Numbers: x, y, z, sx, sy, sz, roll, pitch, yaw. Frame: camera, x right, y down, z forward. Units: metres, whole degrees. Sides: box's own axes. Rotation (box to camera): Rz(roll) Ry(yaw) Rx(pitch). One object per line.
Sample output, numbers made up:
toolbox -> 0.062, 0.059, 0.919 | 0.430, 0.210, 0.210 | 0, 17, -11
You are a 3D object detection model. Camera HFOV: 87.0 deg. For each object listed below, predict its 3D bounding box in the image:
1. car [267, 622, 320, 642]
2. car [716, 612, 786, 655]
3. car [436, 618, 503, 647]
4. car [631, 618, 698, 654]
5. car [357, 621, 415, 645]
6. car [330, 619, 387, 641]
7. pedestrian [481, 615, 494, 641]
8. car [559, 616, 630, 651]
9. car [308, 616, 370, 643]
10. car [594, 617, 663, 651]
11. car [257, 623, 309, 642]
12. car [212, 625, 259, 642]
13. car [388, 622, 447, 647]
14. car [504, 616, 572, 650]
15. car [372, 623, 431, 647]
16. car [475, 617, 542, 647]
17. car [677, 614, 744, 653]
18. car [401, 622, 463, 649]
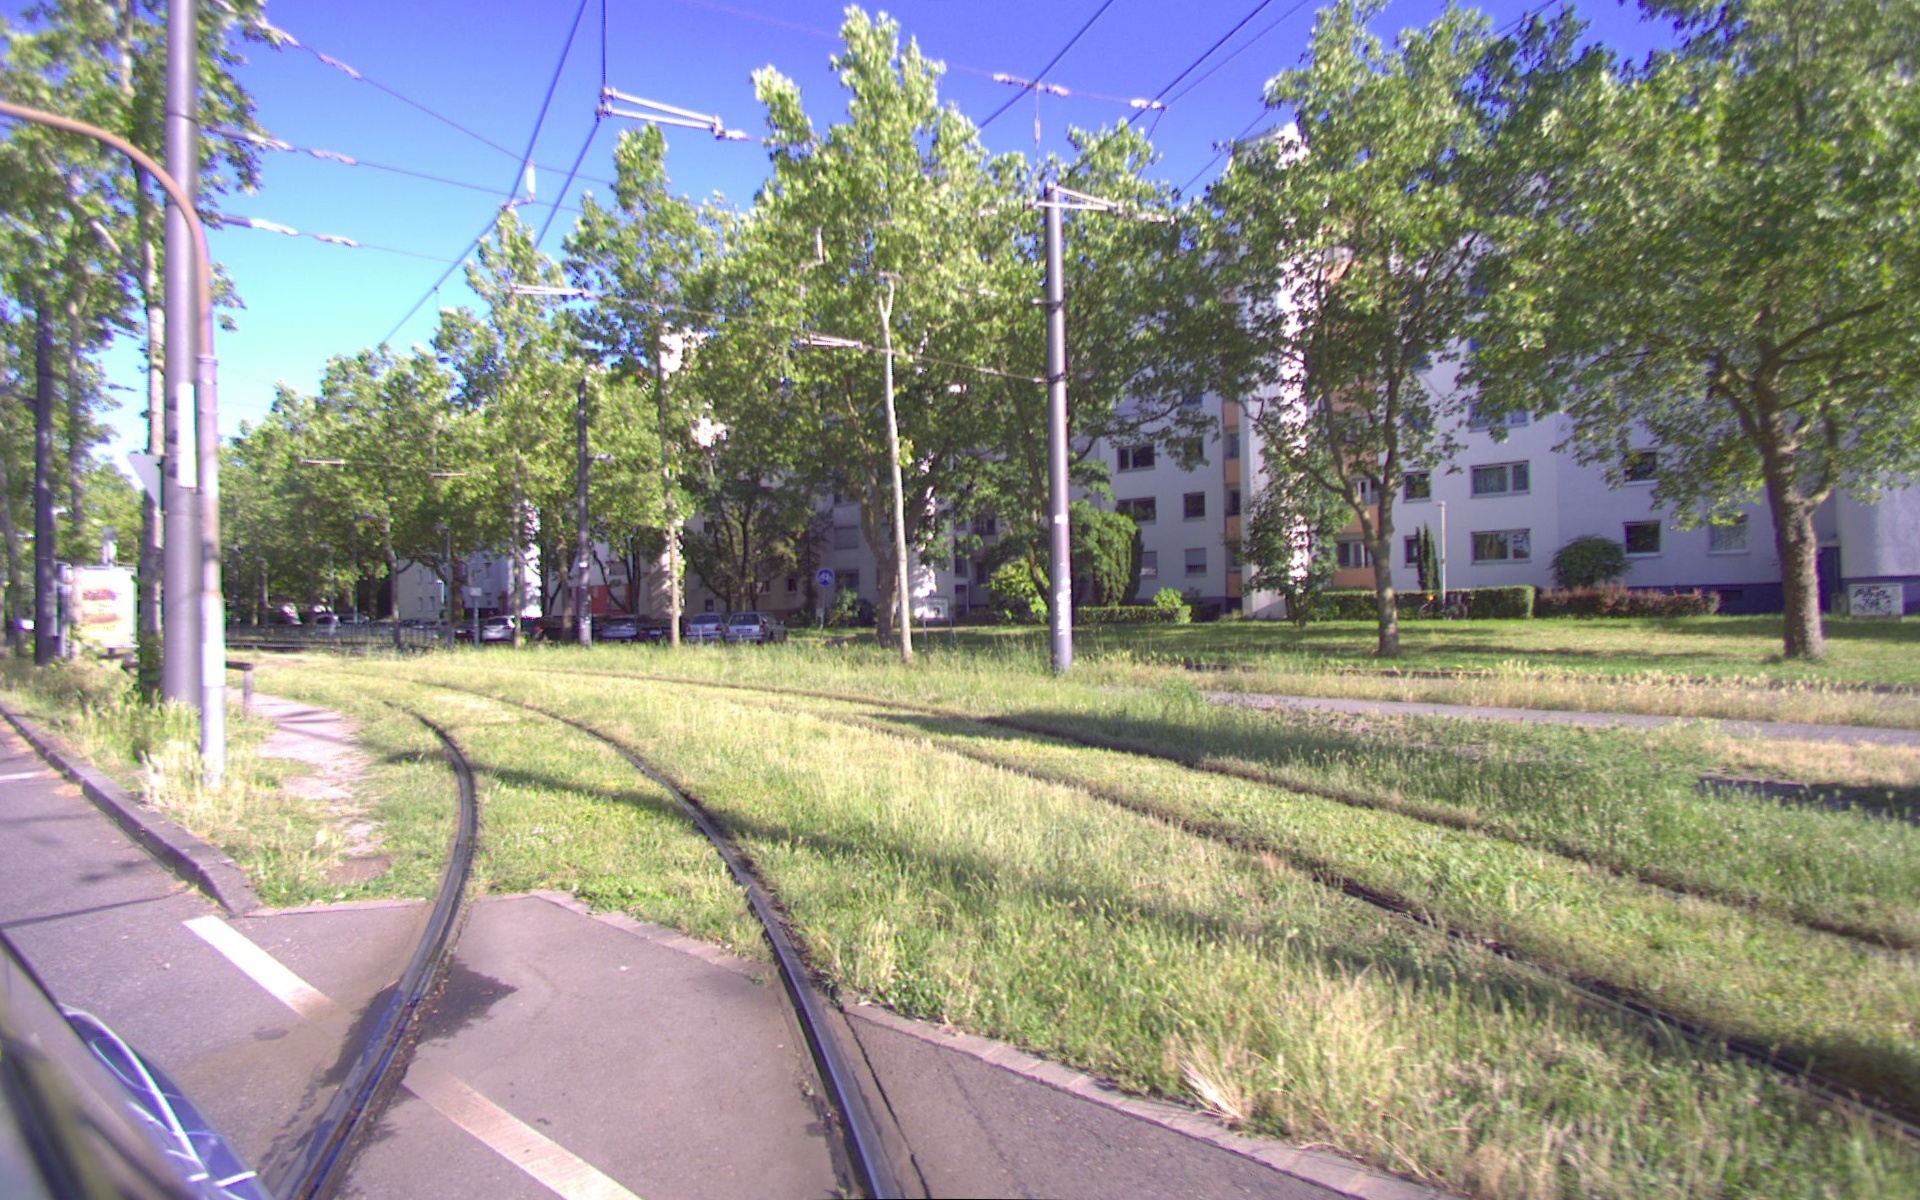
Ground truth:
car -> -56.339, 2.718, 85.656 | 1.770, 1.510, 4.049 | -2, -1, 0
car -> -8.169, 1.282, 39.815 | 1.790, 1.498, 4.047 | -2, -1, 1
car -> -28.403, 1.864, 58.751 | 1.772, 1.510, 4.045 | -2, -1, 3
car -> -12.899, 1.552, 44.458 | 1.655, 1.398, 4.047 | -2, -1, 1
car -> -40.297, 2.296, 71.132 | 1.770, 1.510, 4.049 | -2, -1, 0
car -> -44.923, 2.223, 75.686 | 1.770, 1.510, 4.049 | -2, -1, 0
pedestrian -> -36.628, 2.167, 78.512 | 0.645, 2.029, 0.672 | -2, -1, 40
car -> -17.646, 1.581, 49.052 | 1.772, 1.510, 4.045 | -2, -1, 3
car -> -47.342, 2.206, 77.302 | 1.993, 1.933, 4.431 | -2, -1, 0
car -> -15.295, 1.530, 46.949 | 1.771, 1.398, 4.047 | -2, -1, 1
car -> -58.796, 2.811, 87.973 | 1.770, 1.510, 4.049 | -2, -1, 0
car -> -71.452, 3.300, 99.892 | 1.770, 1.510, 4.049 | -2, -1, 0
car -> -35.915, 2.281, 67.106 | 1.770, 1.510, 4.049 | -2, -1, 0
car -> -22.552, 1.739, 54.224 | 1.772, 1.676, 4.045 | -2, -1, 3
car -> -38.195, 2.359, 69.351 | 1.770, 1.510, 4.049 | -2, -1, 0
car -> -25.173, 1.779, 56.549 | 1.772, 1.510, 4.045 | -2, -1, 3
car -> -10.481, 1.381, 42.781 | 1.740, 1.498, 4.047 | -2, -1, 1
car -> -33.427, 2.212, 64.162 | 1.770, 1.510, 4.049 | -2, -1, 0
